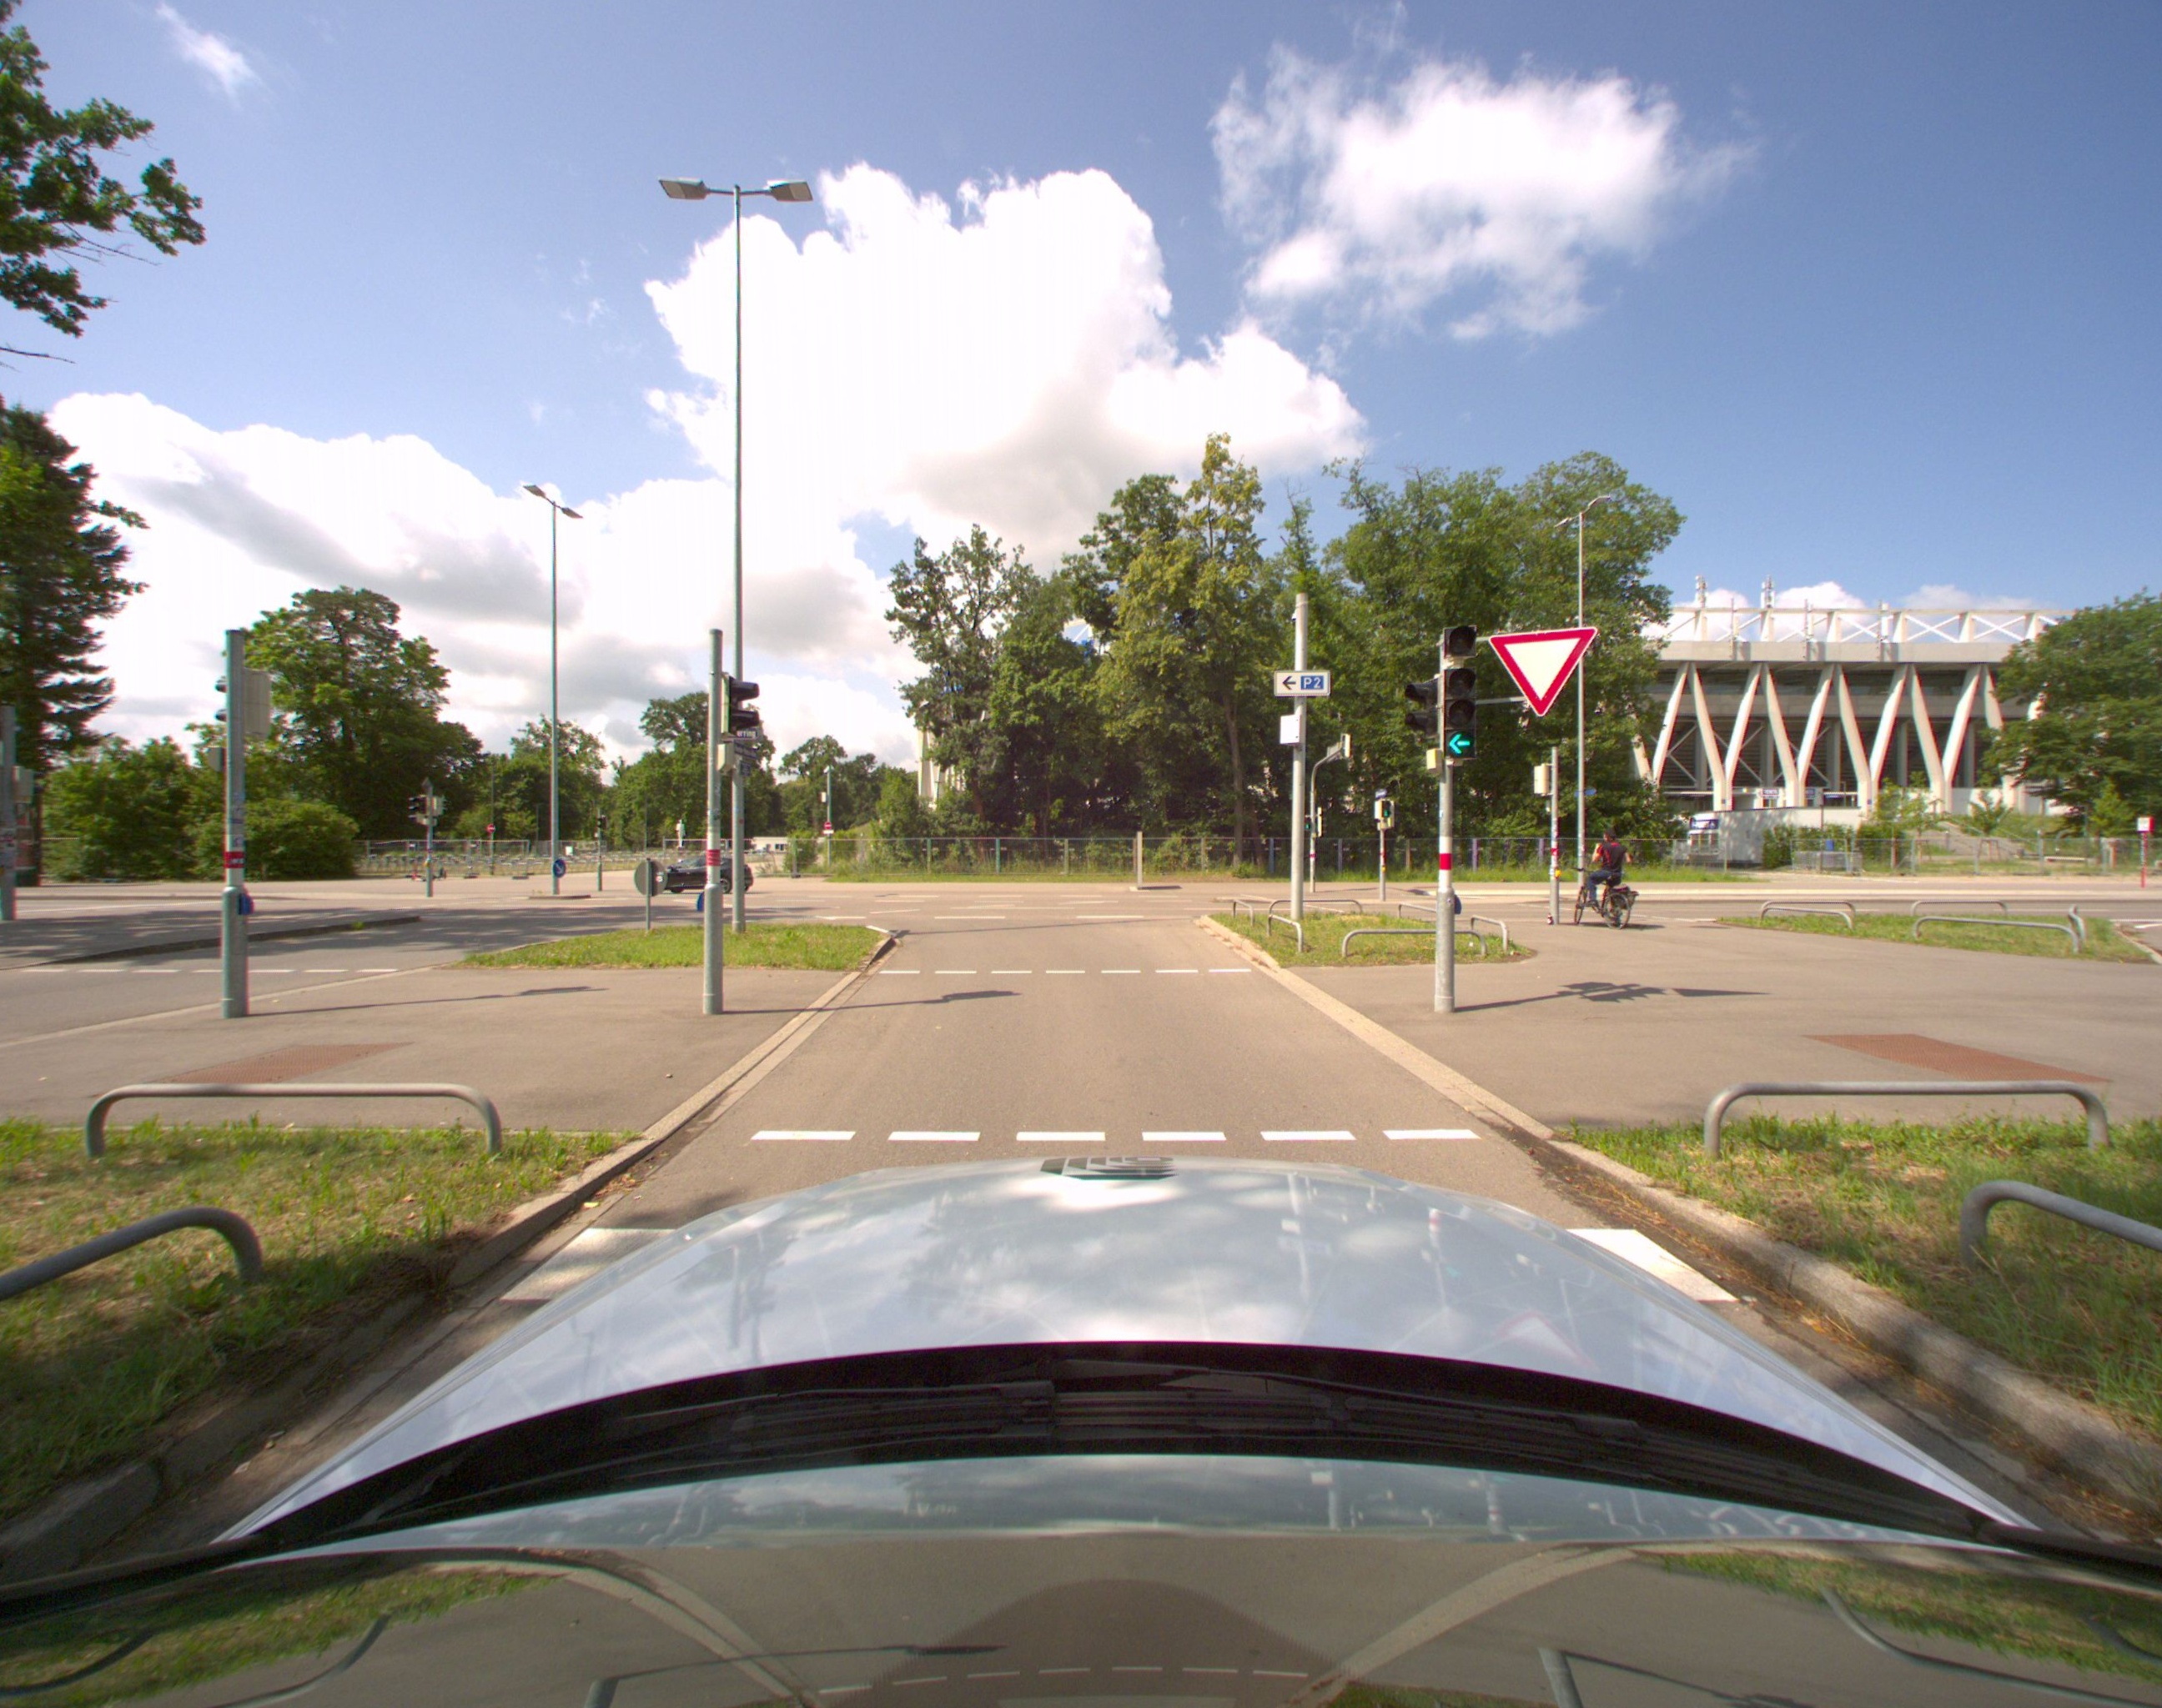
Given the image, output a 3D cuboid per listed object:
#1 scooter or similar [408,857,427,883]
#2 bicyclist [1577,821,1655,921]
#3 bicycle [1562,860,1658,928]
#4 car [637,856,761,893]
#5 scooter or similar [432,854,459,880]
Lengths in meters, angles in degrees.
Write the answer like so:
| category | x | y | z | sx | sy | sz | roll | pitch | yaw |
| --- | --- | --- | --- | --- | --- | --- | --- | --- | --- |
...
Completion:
| category | x | y | z | sx | sy | sz | roll | pitch | yaw |
| --- | --- | --- | --- | --- | --- | --- | --- | --- | --- |
| scooter or similar | -32.213 | 0.778 | 39.547 | 1.295 | 1.200 | 0.410 | 0 | 1 | 37 |
| bicyclist | 9.946 | 0.307 | 15.170 | 0.879 | 1.798 | 0.981 | -1 | -1 | 10 |
| bicycle | 9.985 | 0.727 | 15.465 | 0.875 | 1.206 | 1.903 | -1 | -1 | 11 |
| car | -14.546 | 0.778 | 31.151 | 3.948 | 1.378 | 1.603 | 0 | -1 | 1 |
| scooter or similar | -32.323 | 0.652 | 41.415 | 0.405 | 1.252 | 1.310 | 0 | 1 | -5 |
